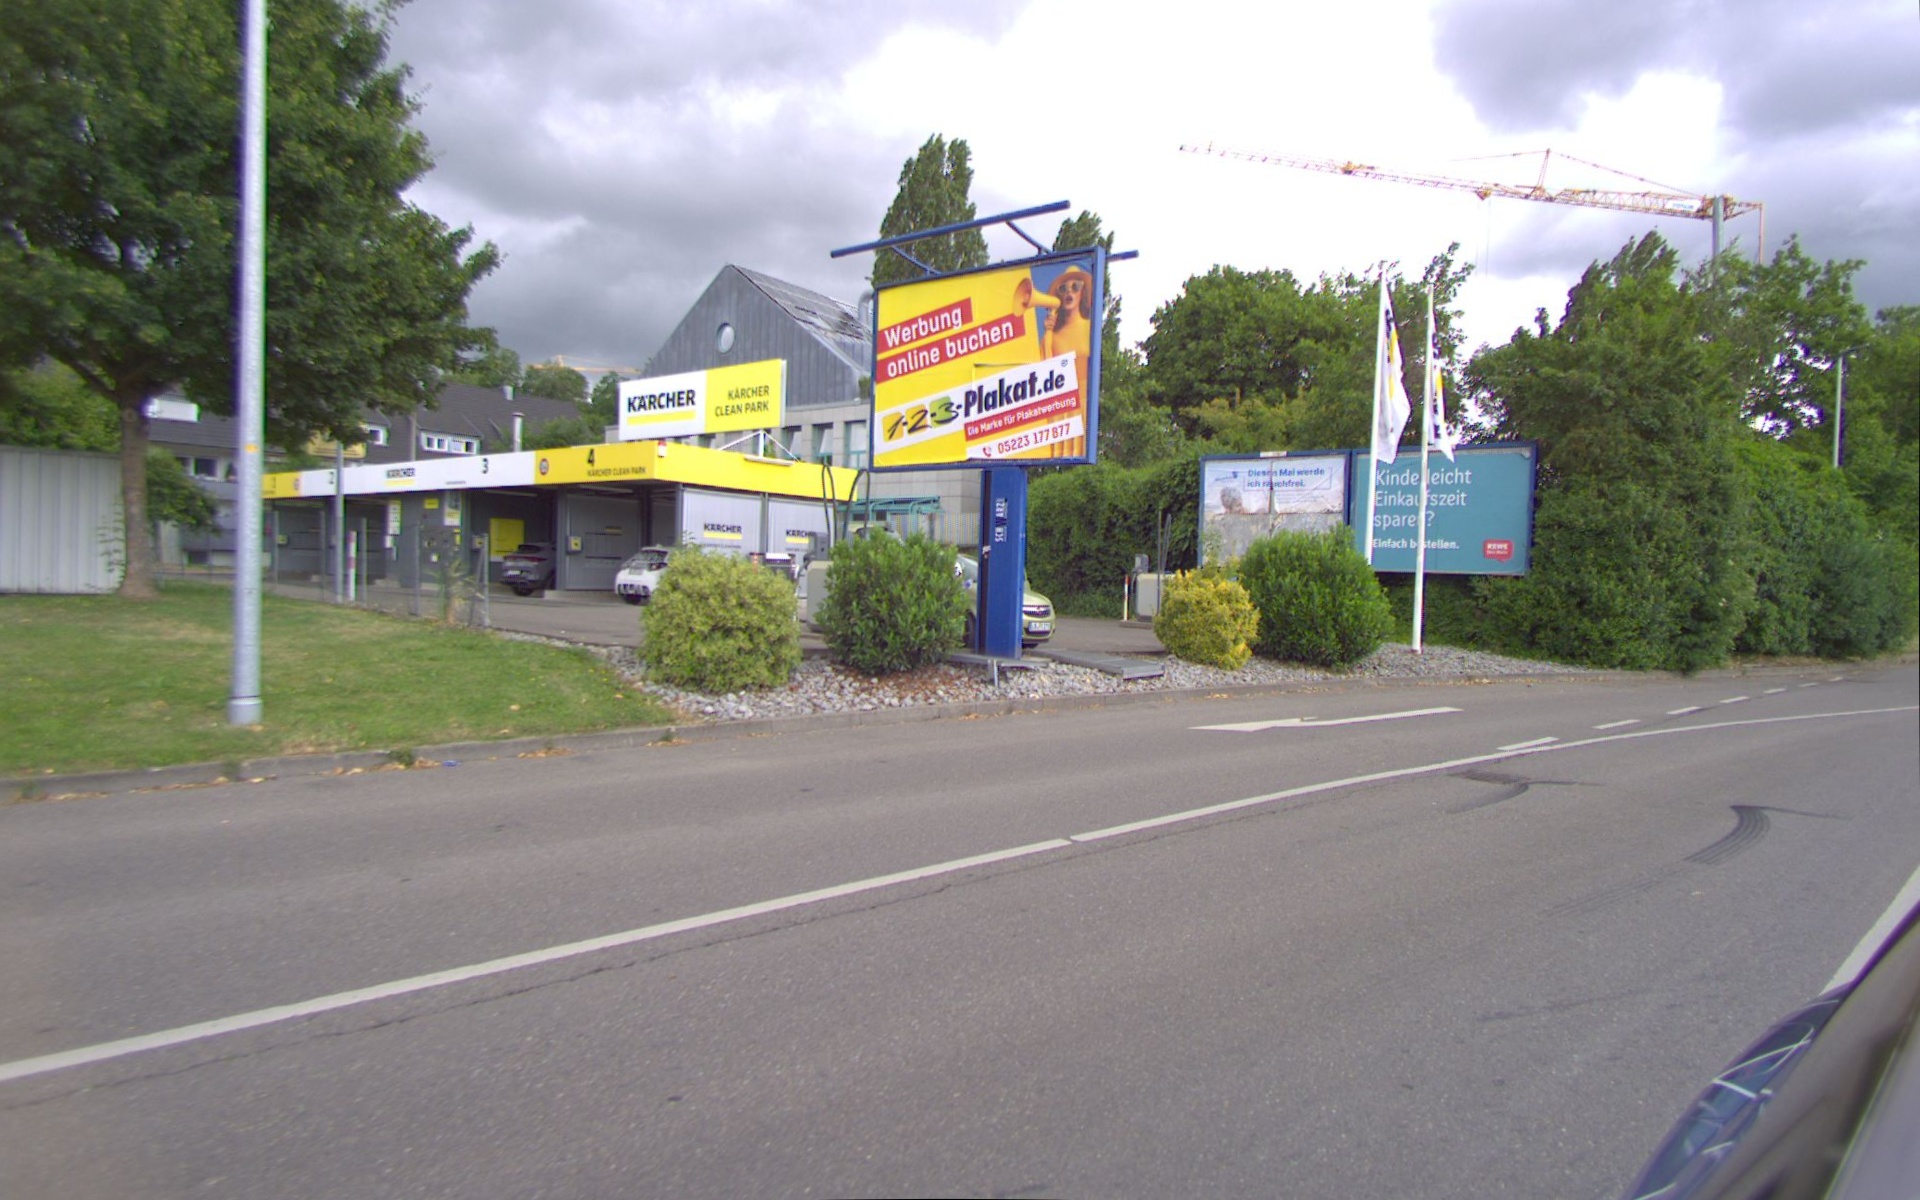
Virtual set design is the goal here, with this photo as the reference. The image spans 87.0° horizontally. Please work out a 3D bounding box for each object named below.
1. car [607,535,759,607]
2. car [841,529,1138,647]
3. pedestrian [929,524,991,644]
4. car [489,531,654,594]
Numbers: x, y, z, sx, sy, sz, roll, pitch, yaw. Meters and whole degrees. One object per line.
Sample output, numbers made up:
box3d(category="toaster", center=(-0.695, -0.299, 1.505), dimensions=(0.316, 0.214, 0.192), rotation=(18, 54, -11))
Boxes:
box3d(category="car", center=(-6.880, -0.723, 25.409), dimensions=(1.620, 1.660, 3.489), rotation=(3, 2, 32))
box3d(category="car", center=(0.442, -0.258, 16.797), dimensions=(4.017, 1.676, 2.900), rotation=(3, 2, 43))
box3d(category="pedestrian", center=(0.007, -0.246, 14.686), dimensions=(0.630, 1.691, 0.577), rotation=(3, 1, 40))
box3d(category="car", center=(-10.640, -1.014, 27.923), dimensions=(1.828, 1.593, 3.880), rotation=(3, 2, 36))
